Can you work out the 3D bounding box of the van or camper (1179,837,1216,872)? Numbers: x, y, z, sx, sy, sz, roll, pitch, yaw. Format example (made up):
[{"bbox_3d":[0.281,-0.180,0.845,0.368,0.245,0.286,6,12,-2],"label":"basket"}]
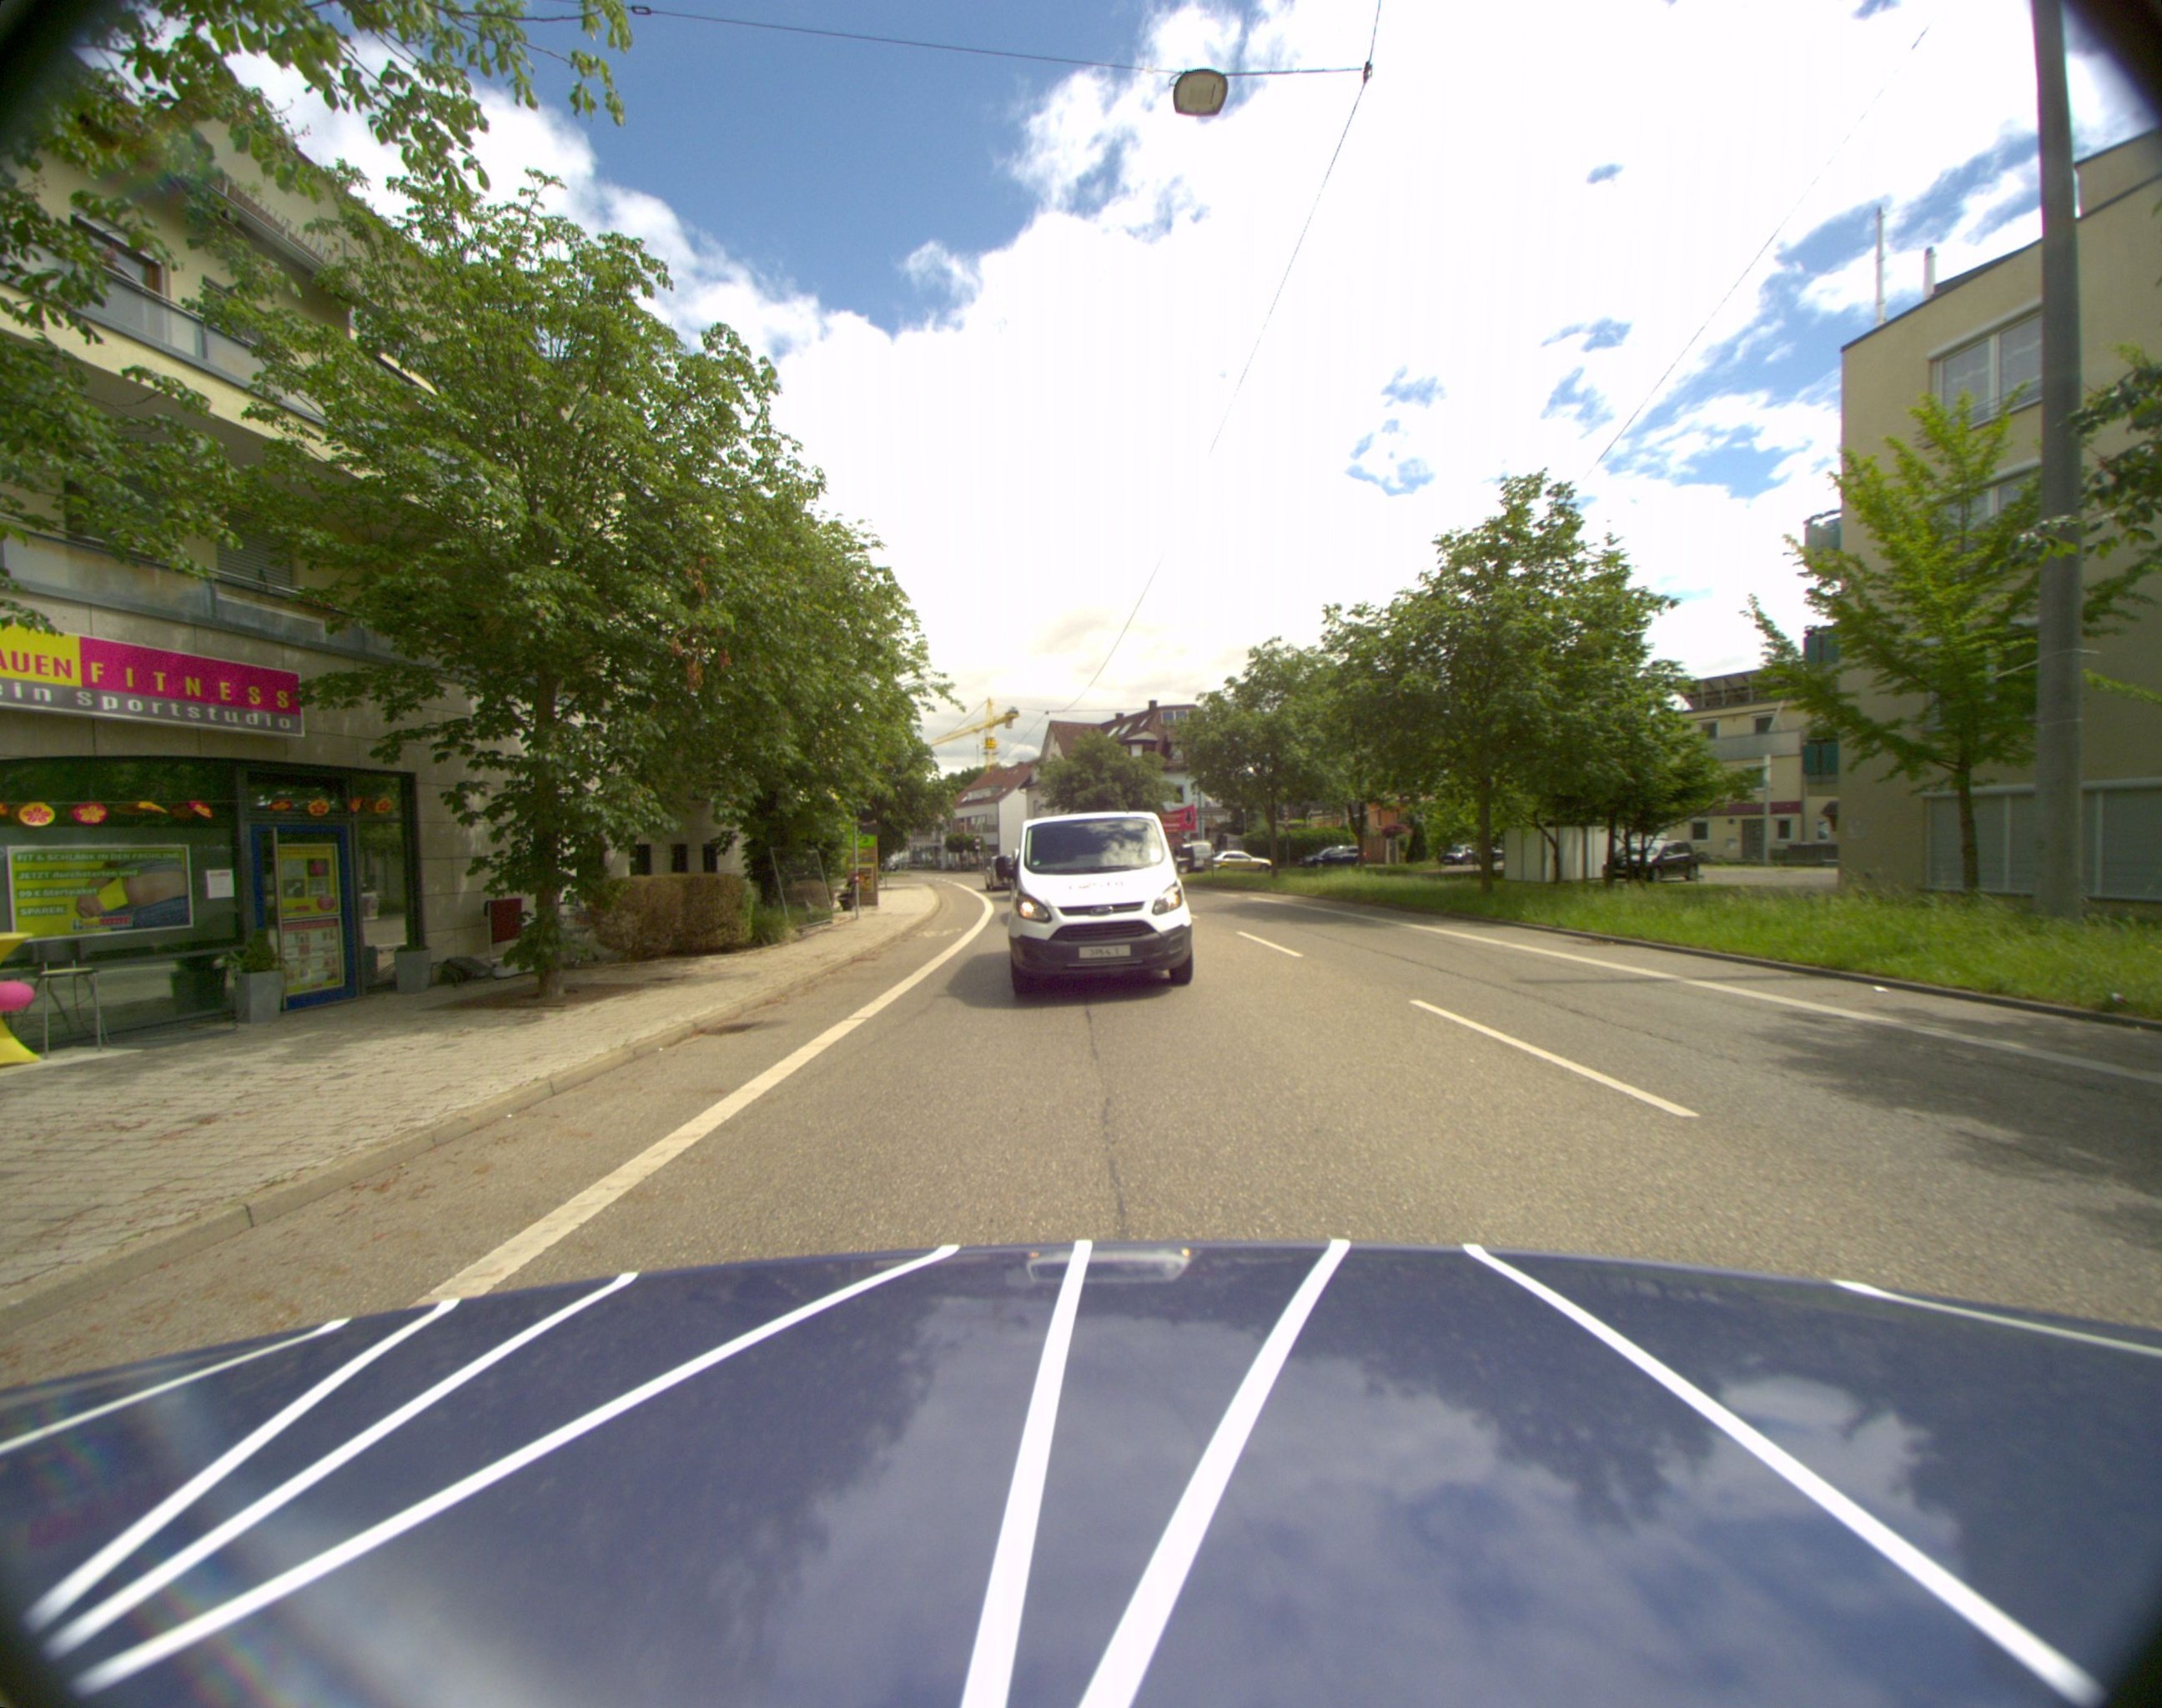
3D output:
[{"bbox_3d":[7.703,-0.023,50.442,1.794,2.077,3.810,-4,2,1],"label":"van or camper"}]

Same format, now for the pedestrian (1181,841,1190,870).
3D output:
[{"bbox_3d":[7.231,0.125,52.659,0.383,1.979,0.443,-4,2,-1],"label":"pedestrian"}]

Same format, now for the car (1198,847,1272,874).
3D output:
[{"bbox_3d":[9.377,0.359,46.324,4.047,1.314,1.534,-4,2,-14],"label":"car"}]

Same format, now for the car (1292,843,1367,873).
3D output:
[{"bbox_3d":[15.198,0.209,46.594,3.977,1.672,1.716,-2,2,-5],"label":"car"}]

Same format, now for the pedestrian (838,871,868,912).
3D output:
[{"bbox_3d":[-7.403,1.211,24.681,0.731,1.293,0.753,-2,1,-1],"label":"pedestrian"}]

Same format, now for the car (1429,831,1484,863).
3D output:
[{"bbox_3d":[25.642,-0.488,51.772,4.008,2.002,1.976,-2,1,-42],"label":"car"}]

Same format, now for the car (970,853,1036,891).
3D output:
[{"bbox_3d":[-3.579,0.781,34.111,1.696,1.478,3.992,-5,2,-24],"label":"car"}]

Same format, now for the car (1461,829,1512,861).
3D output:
[{"bbox_3d":[29.415,-0.658,55.016,4.006,2.002,1.995,-5,2,-43],"label":"car"}]

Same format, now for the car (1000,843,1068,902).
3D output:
[{"bbox_3d":[-1.773,0.589,27.223,1.853,1.805,3.996,-4,2,-10],"label":"car"}]

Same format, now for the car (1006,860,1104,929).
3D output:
[{"bbox_3d":[-0.743,0.879,18.468,1.841,1.382,3.996,-2,1,-9],"label":"car"}]

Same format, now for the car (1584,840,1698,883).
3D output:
[{"bbox_3d":[19.697,0.270,26.704,4.007,1.411,1.789,0,-1,-31],"label":"car"}]

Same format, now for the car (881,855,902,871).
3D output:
[{"bbox_3d":[-24.203,1.132,96.934,1.744,1.840,3.991,-2,1,-27],"label":"car"}]

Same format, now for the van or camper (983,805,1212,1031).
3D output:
[{"bbox_3d":[0.142,0.560,9.454,2.027,2.002,5.102,-2,1,0],"label":"van or camper"}]
